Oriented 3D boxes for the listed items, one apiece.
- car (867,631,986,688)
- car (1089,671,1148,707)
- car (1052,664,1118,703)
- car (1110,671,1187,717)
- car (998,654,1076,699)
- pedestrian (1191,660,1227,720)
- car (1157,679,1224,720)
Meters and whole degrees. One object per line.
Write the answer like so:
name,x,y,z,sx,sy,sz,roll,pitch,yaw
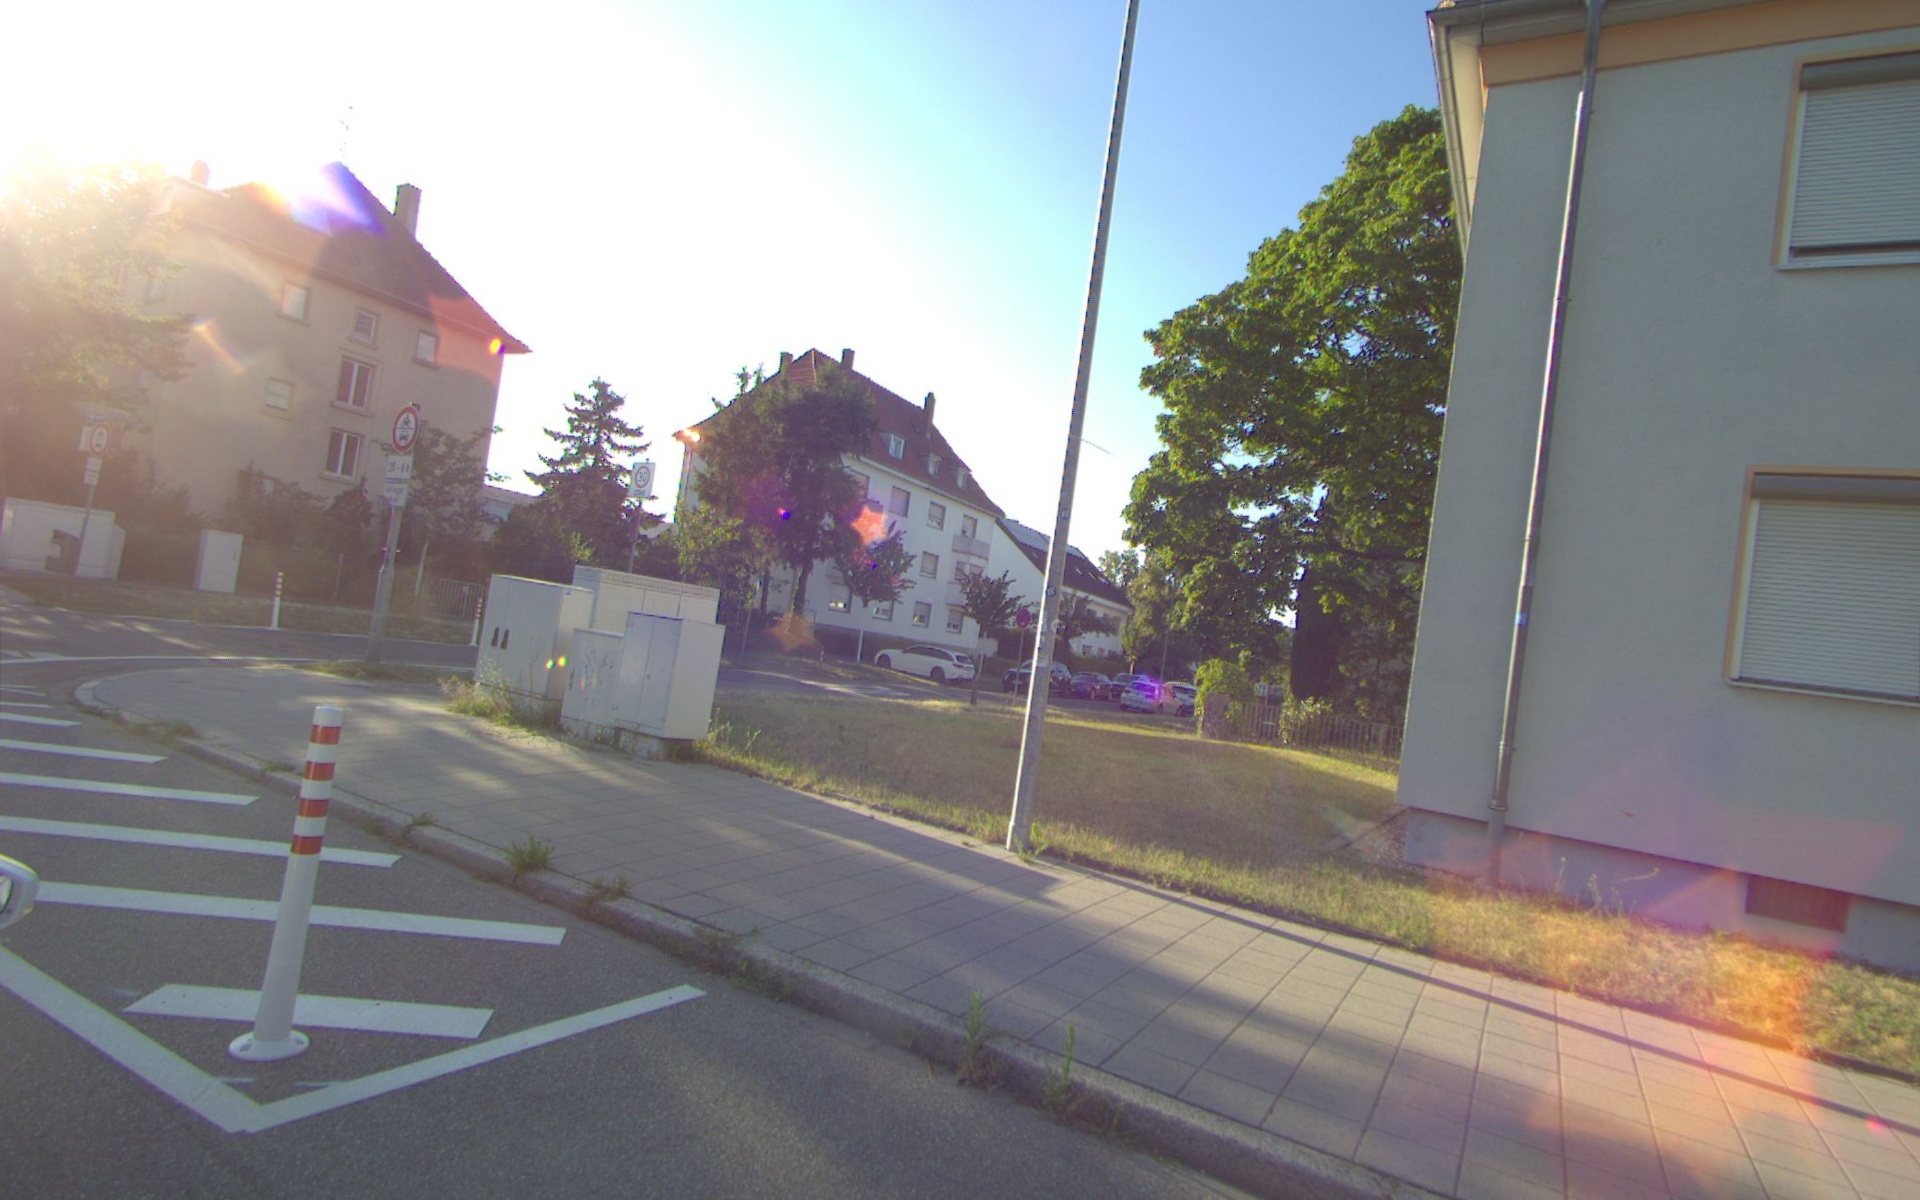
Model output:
car,-1.491,2.602,44.237,4.754,1.632,1.971,9,-1,29
car,8.980,5.022,56.712,1.937,1.631,4.248,7,-3,27
car,6.498,4.334,51.993,1.937,1.631,4.248,7,-3,27
car,8.398,4.191,44.445,1.938,1.631,4.246,7,-3,30
car,3.589,3.553,46.112,1.937,1.631,4.248,7,-3,27
pedestrian,9.009,3.270,36.429,0.883,2.036,0.692,7,-2,28
car,11.366,4.924,49.469,1.938,1.631,4.246,7,-3,30
